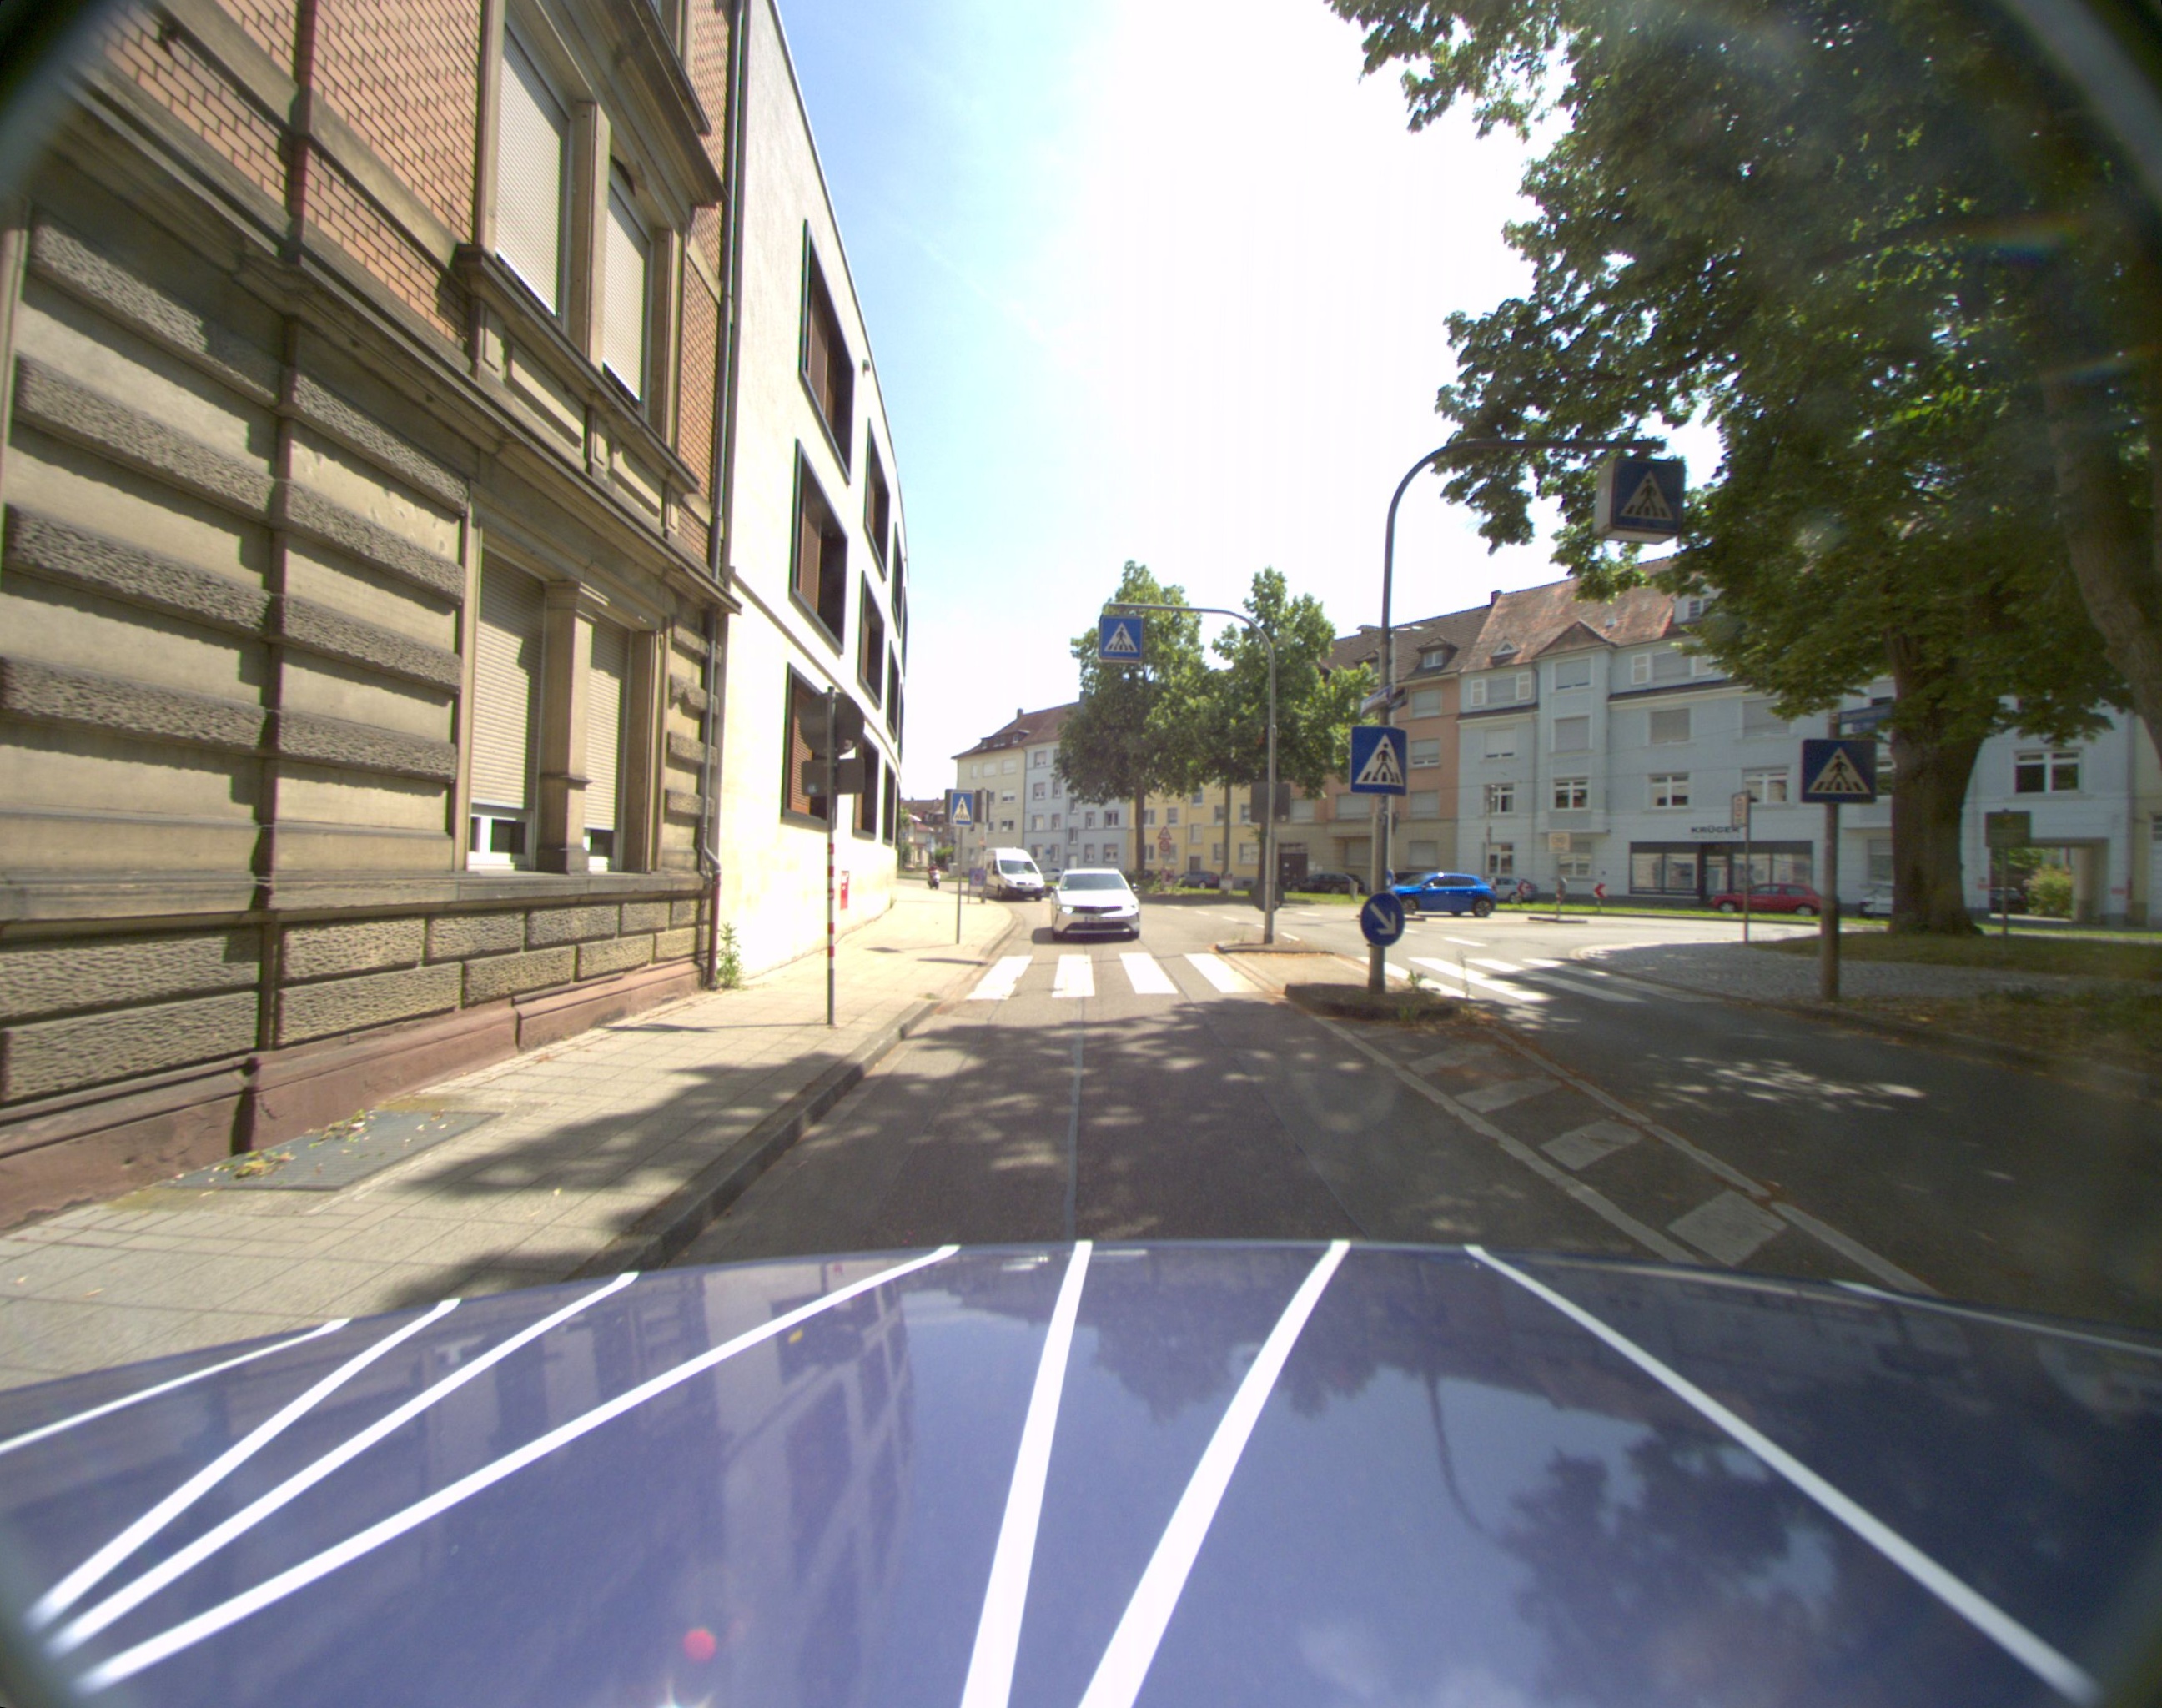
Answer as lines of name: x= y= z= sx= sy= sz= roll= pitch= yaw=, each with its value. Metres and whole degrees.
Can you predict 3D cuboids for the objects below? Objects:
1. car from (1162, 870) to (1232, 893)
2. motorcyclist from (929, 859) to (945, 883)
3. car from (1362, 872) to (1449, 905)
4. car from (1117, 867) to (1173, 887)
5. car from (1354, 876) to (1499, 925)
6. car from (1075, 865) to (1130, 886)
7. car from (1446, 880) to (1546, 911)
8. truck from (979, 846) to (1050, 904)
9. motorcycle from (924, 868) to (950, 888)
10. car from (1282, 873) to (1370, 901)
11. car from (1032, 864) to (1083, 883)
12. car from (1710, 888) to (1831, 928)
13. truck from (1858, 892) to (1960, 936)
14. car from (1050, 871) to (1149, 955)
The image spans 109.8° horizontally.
car: x=8.341 y=1.969 z=55.013 sx=1.939 sy=1.389 sz=4.849 roll=5 pitch=-3 yaw=-41
motorcyclist: x=-8.162 y=0.971 z=43.072 sx=0.736 sy=1.329 sz=1.169 roll=1 pitch=0 yaw=-20
car: x=18.578 y=1.964 z=43.564 sx=1.847 sy=1.675 sz=4.130 roll=5 pitch=-3 yaw=-42
car: x=4.939 y=1.795 z=59.095 sx=1.841 sy=1.391 sz=4.130 roll=5 pitch=-3 yaw=-41
car: x=11.493 y=1.522 z=25.417 sx=3.999 sy=1.483 sz=1.815 roll=2 pitch=-2 yaw=-5
car: x=1.763 y=1.747 z=62.844 sx=1.939 sy=1.495 sz=4.313 roll=5 pitch=-3 yaw=-44
car: x=21.852 y=2.172 z=40.144 sx=1.818 sy=1.348 sz=4.238 roll=5 pitch=-3 yaw=-42
truck: x=-3.051 y=0.836 z=33.432 sx=2.023 sy=2.236 sz=5.399 roll=3 pitch=0 yaw=-16
motorcycle: x=-8.177 y=1.371 z=43.025 sx=1.059 sy=1.073 sz=2.613 roll=1 pitch=-1 yaw=-19
car: x=15.179 y=2.017 z=47.326 sx=1.939 sy=1.481 sz=4.849 roll=5 pitch=-3 yaw=-42
car: x=-2.096 y=1.701 z=66.618 sx=1.939 sy=1.442 sz=4.363 roll=6 pitch=-4 yaw=-44
car: x=29.007 y=2.253 z=32.047 sx=1.580 sy=1.442 sz=3.615 roll=5 pitch=-3 yaw=-42
truck: x=31.830 y=2.289 z=29.277 sx=1.132 sy=1.485 sz=2.587 roll=5 pitch=-3 yaw=-43
car: x=0.326 y=1.127 z=15.957 sx=1.801 sy=1.457 sz=4.171 roll=0 pitch=0 yaw=0
